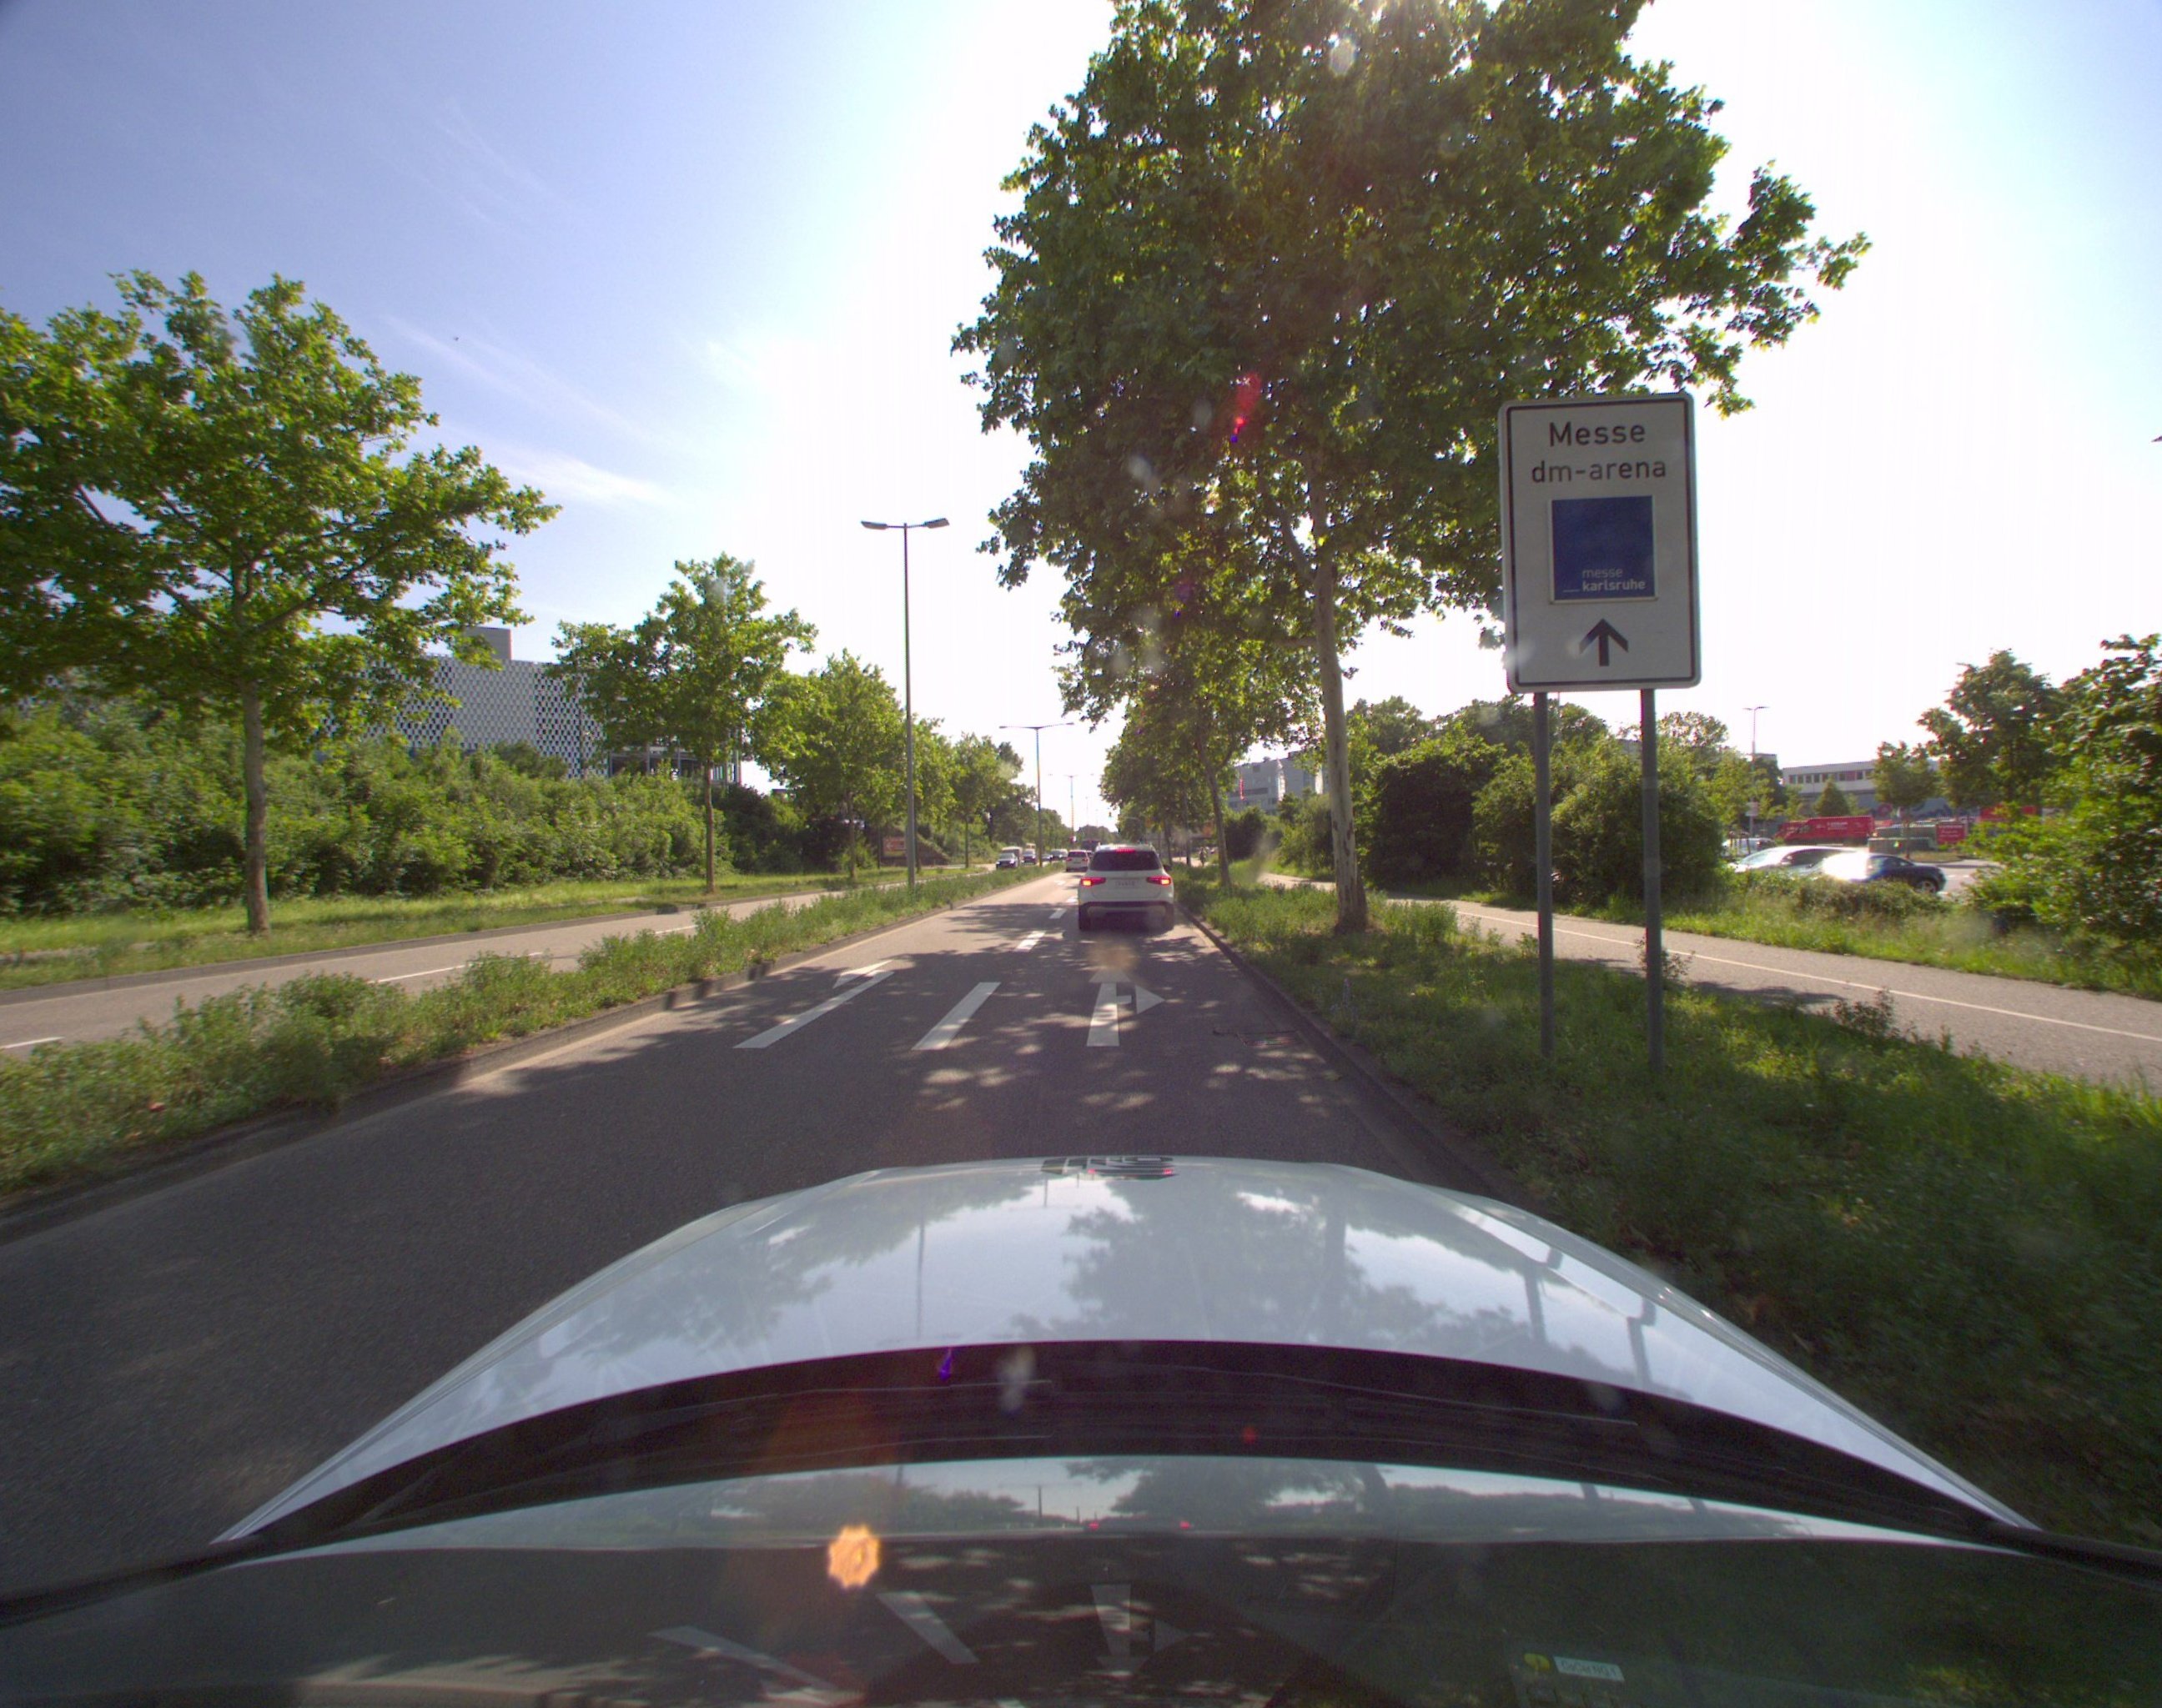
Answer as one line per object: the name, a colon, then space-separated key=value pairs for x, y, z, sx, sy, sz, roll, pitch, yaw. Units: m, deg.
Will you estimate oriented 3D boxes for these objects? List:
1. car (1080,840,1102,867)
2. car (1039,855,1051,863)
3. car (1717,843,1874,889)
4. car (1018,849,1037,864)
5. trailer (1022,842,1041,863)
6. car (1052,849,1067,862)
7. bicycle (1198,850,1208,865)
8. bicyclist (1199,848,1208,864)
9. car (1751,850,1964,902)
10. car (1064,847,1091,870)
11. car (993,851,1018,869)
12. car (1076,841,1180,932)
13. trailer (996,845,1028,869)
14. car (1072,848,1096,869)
car: x=1.051 y=-0.047 z=83.523 sx=2.072 sy=2.656 sz=4.879 roll=0 pitch=0 yaw=3
car: x=-6.328 y=0.922 z=143.080 sx=1.694 sy=1.365 sz=3.648 roll=-1 pitch=0 yaw=2
car: x=21.310 y=0.348 z=24.386 sx=3.306 sy=1.310 sz=1.448 roll=-1 pitch=0 yaw=6
car: x=-6.688 y=0.270 z=101.920 sx=1.757 sy=1.789 sz=5.381 roll=0 pitch=0 yaw=4
trailer: x=-6.406 y=-0.175 z=106.388 sx=1.872 sy=2.744 sz=4.833 roll=0 pitch=0 yaw=3
car: x=-3.047 y=0.250 z=114.693 sx=1.723 sy=1.809 sz=4.236 roll=0 pitch=0 yaw=3
bicycle: x=10.972 y=0.279 z=73.166 sx=0.719 sy=1.299 sz=2.097 roll=-1 pitch=0 yaw=4
bicyclist: x=10.989 y=0.183 z=73.162 sx=0.701 sy=1.477 sz=1.010 roll=-1 pitch=0 yaw=3
car: x=20.729 y=0.561 z=21.879 sx=3.919 sy=1.310 sz=1.706 roll=-1 pitch=0 yaw=6
car: x=-0.238 y=0.327 z=61.544 sx=1.764 sy=1.647 sz=4.356 roll=-1 pitch=0 yaw=3
car: x=-7.116 y=0.573 z=77.062 sx=1.708 sy=1.622 sz=4.365 roll=-1 pitch=0 yaw=3
car: x=0.843 y=0.581 z=16.722 sx=1.848 sy=1.607 sz=3.999 roll=-1 pitch=0 yaw=-1
trailer: x=-6.895 y=0.288 z=82.023 sx=2.299 sy=2.265 sz=5.543 roll=-1 pitch=0 yaw=3
car: x=0.286 y=0.374 z=67.438 sx=1.764 sy=1.647 sz=4.088 roll=-1 pitch=0 yaw=3
